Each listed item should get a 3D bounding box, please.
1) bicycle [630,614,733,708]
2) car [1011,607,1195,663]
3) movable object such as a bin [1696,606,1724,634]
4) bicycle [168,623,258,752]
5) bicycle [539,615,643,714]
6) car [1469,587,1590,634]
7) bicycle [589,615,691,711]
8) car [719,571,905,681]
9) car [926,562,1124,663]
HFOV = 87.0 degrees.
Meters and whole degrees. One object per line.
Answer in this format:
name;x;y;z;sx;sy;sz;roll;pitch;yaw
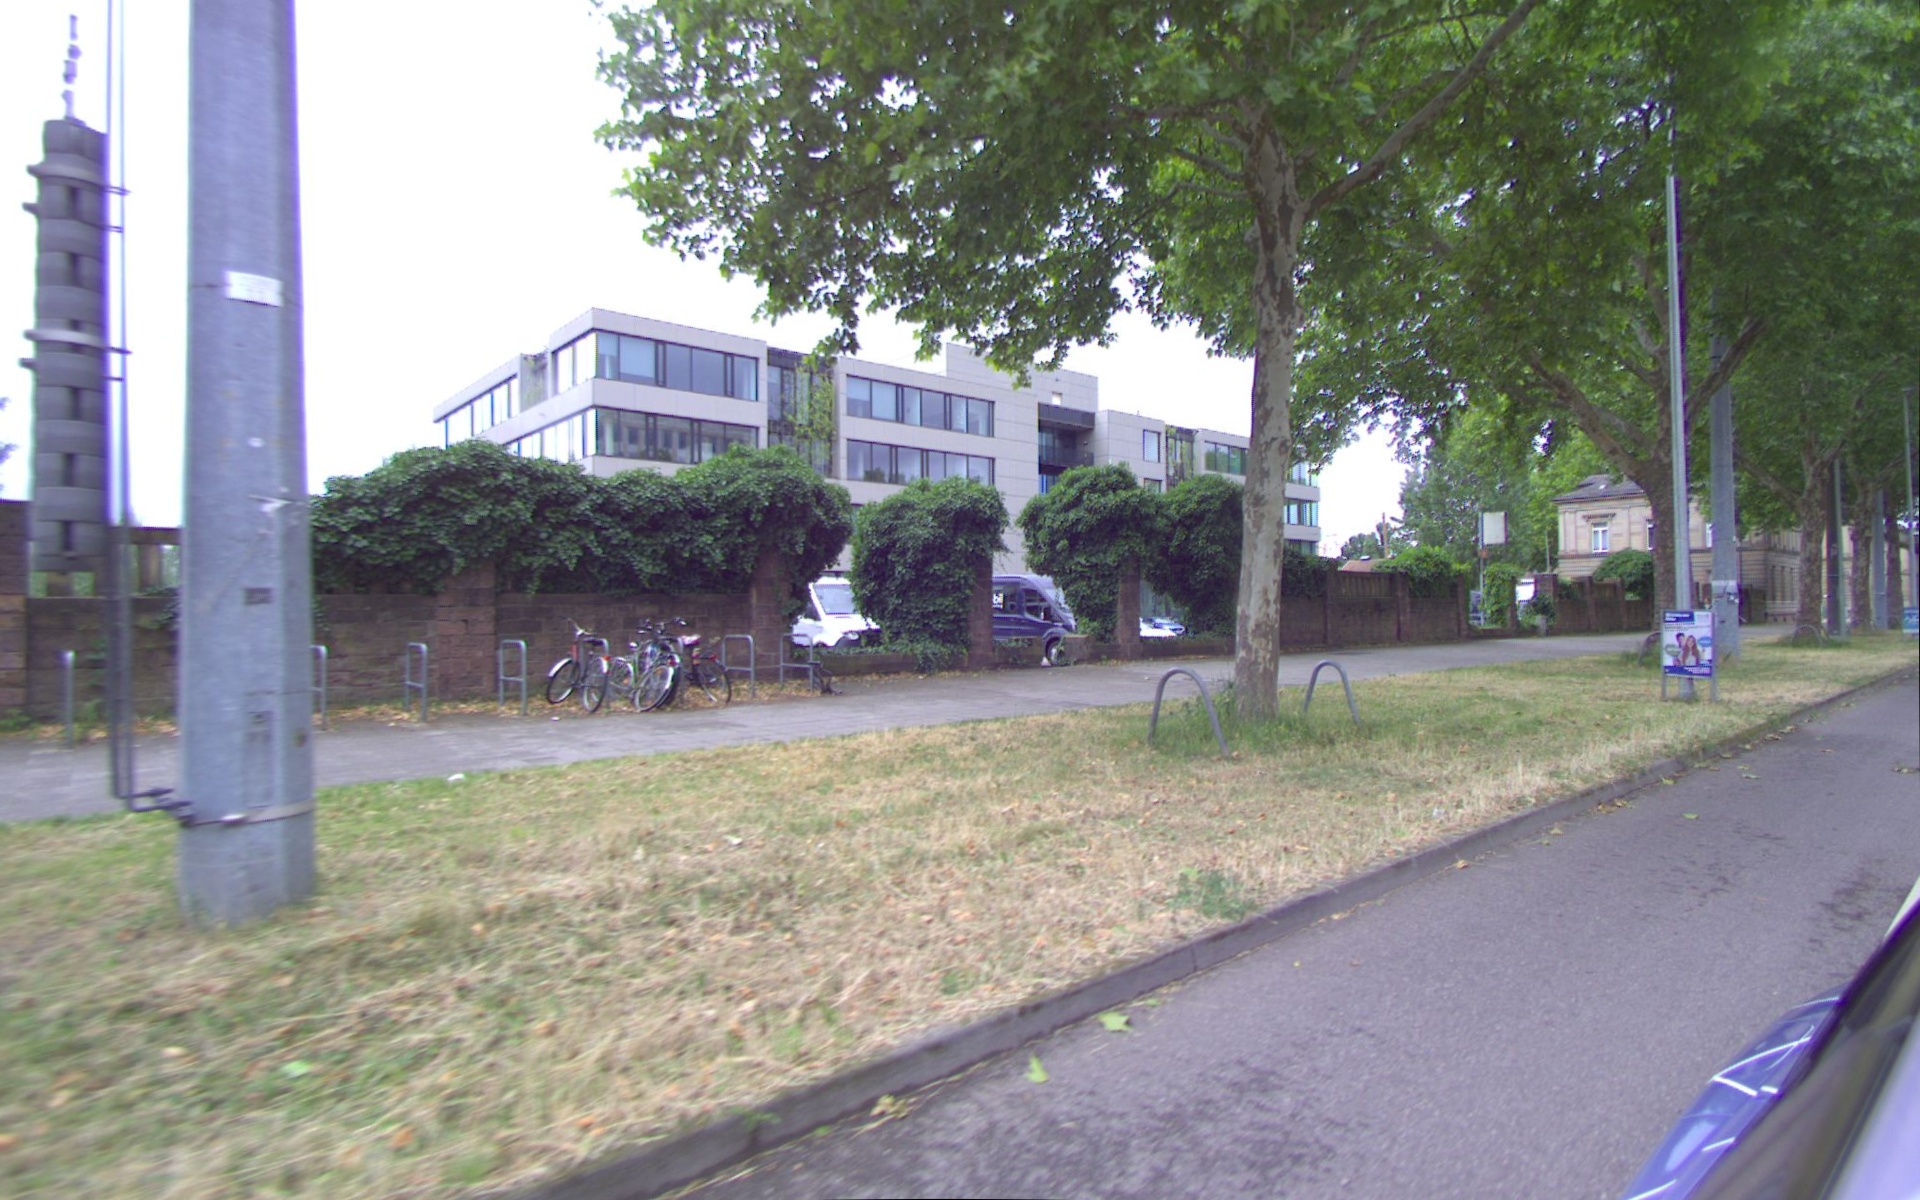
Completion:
bicycle;-3.757;0.773;13.560;0.540;1.118;1.892;0;1;-42
car;3.971;0.991;28.869;1.970;1.429;5.098;-1;-1;-43
movable object such as a bin;30.270;0.799;40.856;0.995;1.126;0.613;0;-1;-35
bicycle;-7.523;0.821;10.162;0.540;1.105;1.924;0;1;-42
bicycle;-4.708;0.776;12.828;0.540;1.108;1.977;0;1;-42
car;25.538;0.468;45.460;1.967;2.039;4.351;-1;0;-43
bicycle;-4.200;0.774;13.199;0.540;1.111;1.902;0;1;-42
car;-3.561;0.612;23.586;1.638;2.293;5.098;-1;-2;-43
car;1.619;0.405;27.084;2.041;2.453;5.235;-1;-2;-43
